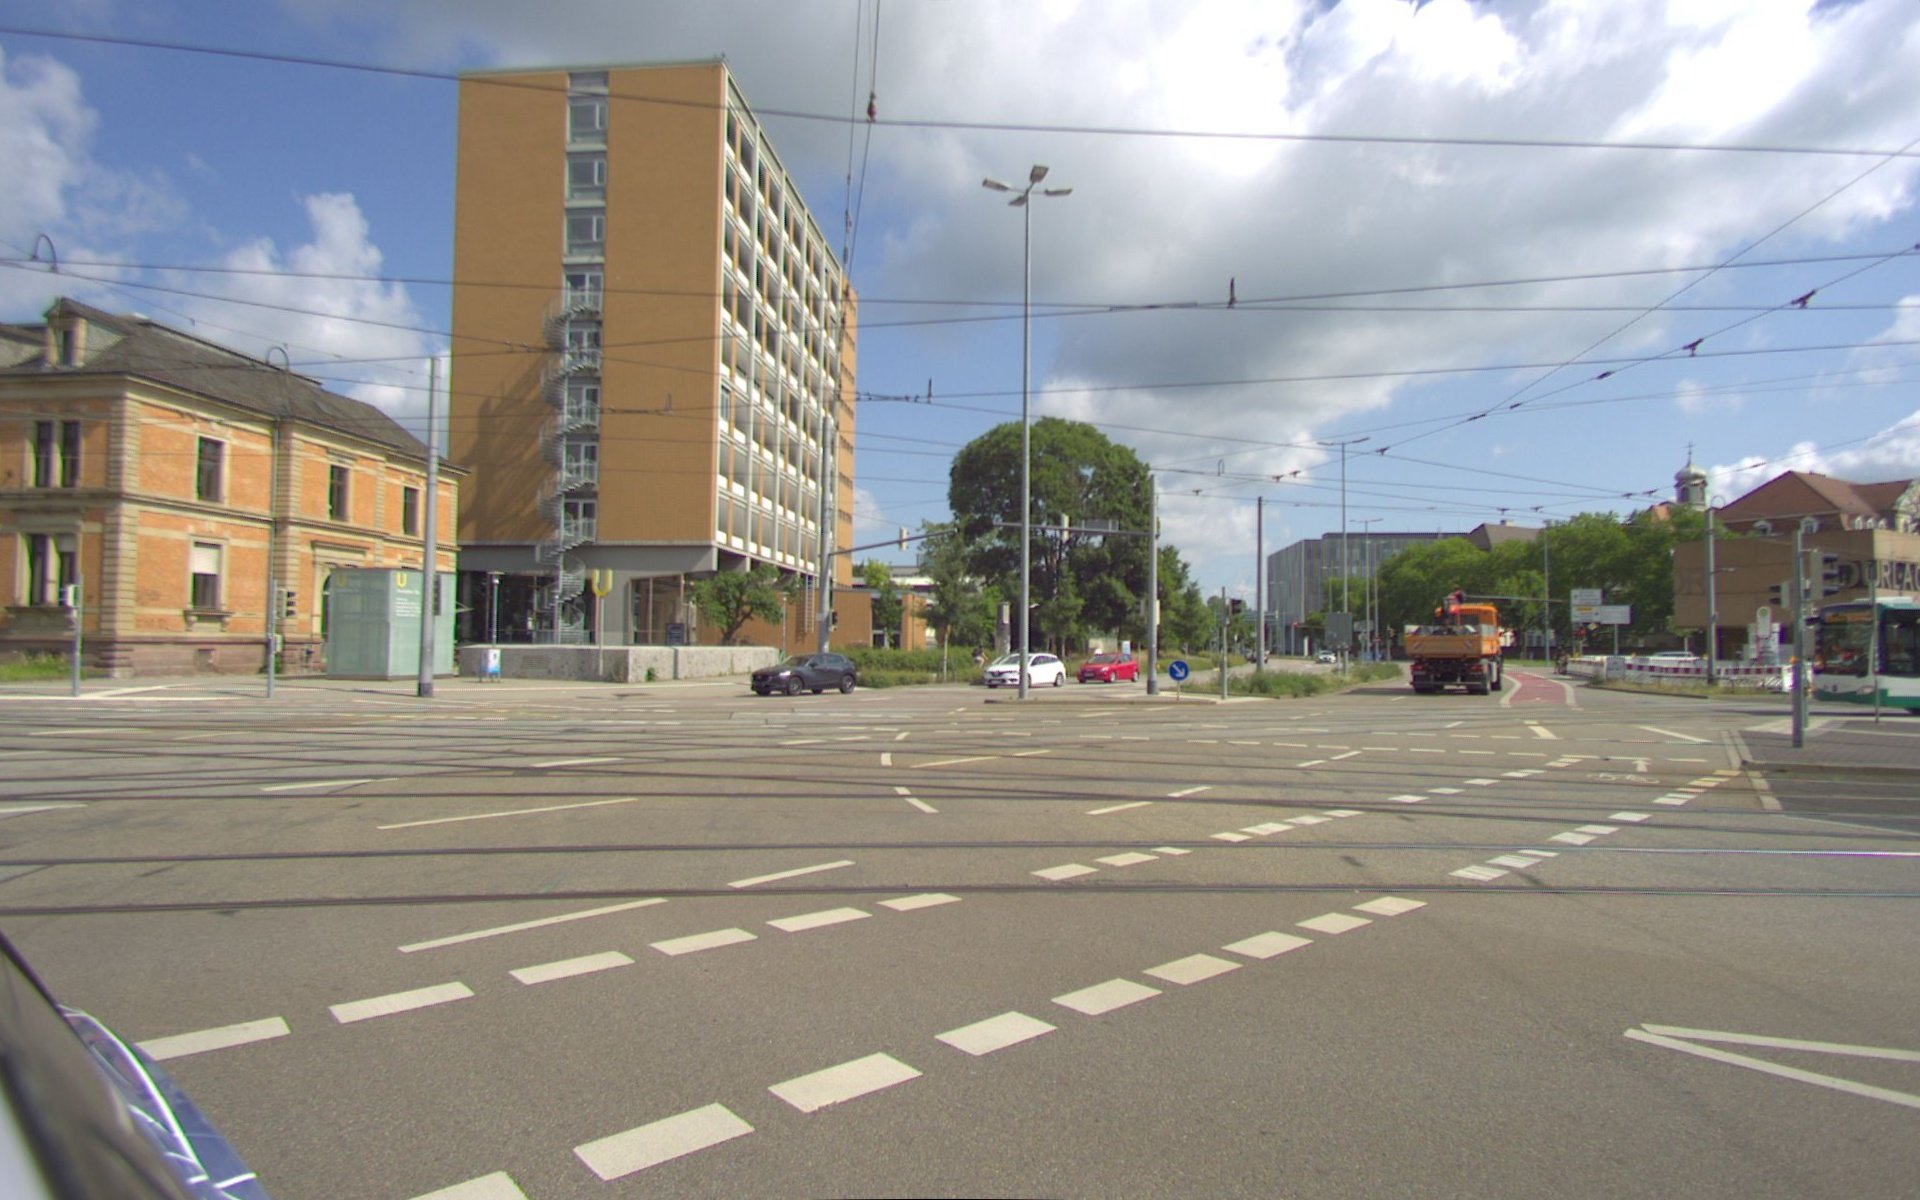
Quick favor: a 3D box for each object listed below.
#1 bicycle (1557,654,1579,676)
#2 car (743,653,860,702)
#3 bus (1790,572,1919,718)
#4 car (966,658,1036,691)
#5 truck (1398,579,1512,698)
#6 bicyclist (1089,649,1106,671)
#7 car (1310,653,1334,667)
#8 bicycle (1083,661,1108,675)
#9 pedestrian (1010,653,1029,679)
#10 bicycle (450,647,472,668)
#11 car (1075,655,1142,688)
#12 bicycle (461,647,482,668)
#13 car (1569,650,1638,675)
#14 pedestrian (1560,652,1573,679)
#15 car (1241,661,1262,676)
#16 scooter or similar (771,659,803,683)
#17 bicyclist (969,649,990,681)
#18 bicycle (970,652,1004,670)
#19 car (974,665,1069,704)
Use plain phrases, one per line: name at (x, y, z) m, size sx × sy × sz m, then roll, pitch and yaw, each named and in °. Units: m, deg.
bicycle at (40.884, 4.368, 68.079) m, size 0.967 × 1.421 × 2.274 m, roll -1°, pitch -3°, yaw 25°
car at (-5.588, 2.726, 36.100) m, size 1.644 × 1.588 × 4.159 m, roll -4°, pitch -4°, yaw 37°
bus at (29.174, 1.213, 25.989) m, size 12.234 × 3.648 × 2.908 m, roll 0°, pitch -3°, yaw 9°
car at (1.945, 3.446, 46.974) m, size 1.582 × 1.396 × 4.037 m, roll -3°, pitch -4°, yaw 29°
truck at (19.078, 1.534, 38.732) m, size 2.829 × 4.039 × 7.979 m, roll -2°, pitch -4°, yaw 34°
bicyclist at (9.370, 4.102, 68.946) m, size 0.635 × 1.468 × 1.155 m, roll -2°, pitch -4°, yaw 36°
car at (41.459, 6.908, 116.001) m, size 1.811 × 1.537 × 3.988 m, roll 0°, pitch -3°, yaw 9°
bicycle at (9.212, 4.600, 68.710) m, size 0.652 × 0.904 × 2.248 m, roll -2°, pitch -4°, yaw 36°
pedestrian at (3.587, 3.968, 60.982) m, size 0.942 × 1.590 × 0.771 m, roll 1°, pitch -3°, yaw -10°
bicycle at (-29.730, 3.434, 60.284) m, size 0.423 × 1.257 × 1.472 m, roll 0°, pitch -3°, yaw 5°
car at (7.189, 3.423, 48.807) m, size 1.642 × 1.479 × 4.019 m, roll -4°, pitch -4°, yaw 33°
bicycle at (-29.079, 3.428, 60.253) m, size 0.423 × 1.257 × 1.472 m, roll 0°, pitch -3°, yaw 5°
car at (49.526, 4.798, 77.931) m, size 1.967 × 1.796 × 4.010 m, roll 3°, pitch -4°, yaw -35°
pedestrian at (40.290, 4.331, 67.196) m, size 0.651 × 1.777 × 0.990 m, roll -2°, pitch -4°, yaw 34°
car at (34.660, 8.112, 120.278) m, size 1.979 × 1.769 × 3.986 m, roll 0°, pitch -4°, yaw 11°
scooter or similar at (-8.938, 3.677, 52.198) m, size 1.511 × 1.192 × 0.436 m, roll 3°, pitch -4°, yaw -18°
bicyclist at (1.041, 3.469, 54.011) m, size 0.923 × 1.684 × 0.580 m, roll 3°, pitch -3°, yaw -42°
bicycle at (1.464, 3.286, 54.182) m, size 1.781 × 0.881 × 0.762 m, roll 4°, pitch -2°, yaw -42°
car at (2.646, 3.502, 42.418) m, size 1.759 × 1.440 × 4.618 m, roll -4°, pitch -4°, yaw 35°
